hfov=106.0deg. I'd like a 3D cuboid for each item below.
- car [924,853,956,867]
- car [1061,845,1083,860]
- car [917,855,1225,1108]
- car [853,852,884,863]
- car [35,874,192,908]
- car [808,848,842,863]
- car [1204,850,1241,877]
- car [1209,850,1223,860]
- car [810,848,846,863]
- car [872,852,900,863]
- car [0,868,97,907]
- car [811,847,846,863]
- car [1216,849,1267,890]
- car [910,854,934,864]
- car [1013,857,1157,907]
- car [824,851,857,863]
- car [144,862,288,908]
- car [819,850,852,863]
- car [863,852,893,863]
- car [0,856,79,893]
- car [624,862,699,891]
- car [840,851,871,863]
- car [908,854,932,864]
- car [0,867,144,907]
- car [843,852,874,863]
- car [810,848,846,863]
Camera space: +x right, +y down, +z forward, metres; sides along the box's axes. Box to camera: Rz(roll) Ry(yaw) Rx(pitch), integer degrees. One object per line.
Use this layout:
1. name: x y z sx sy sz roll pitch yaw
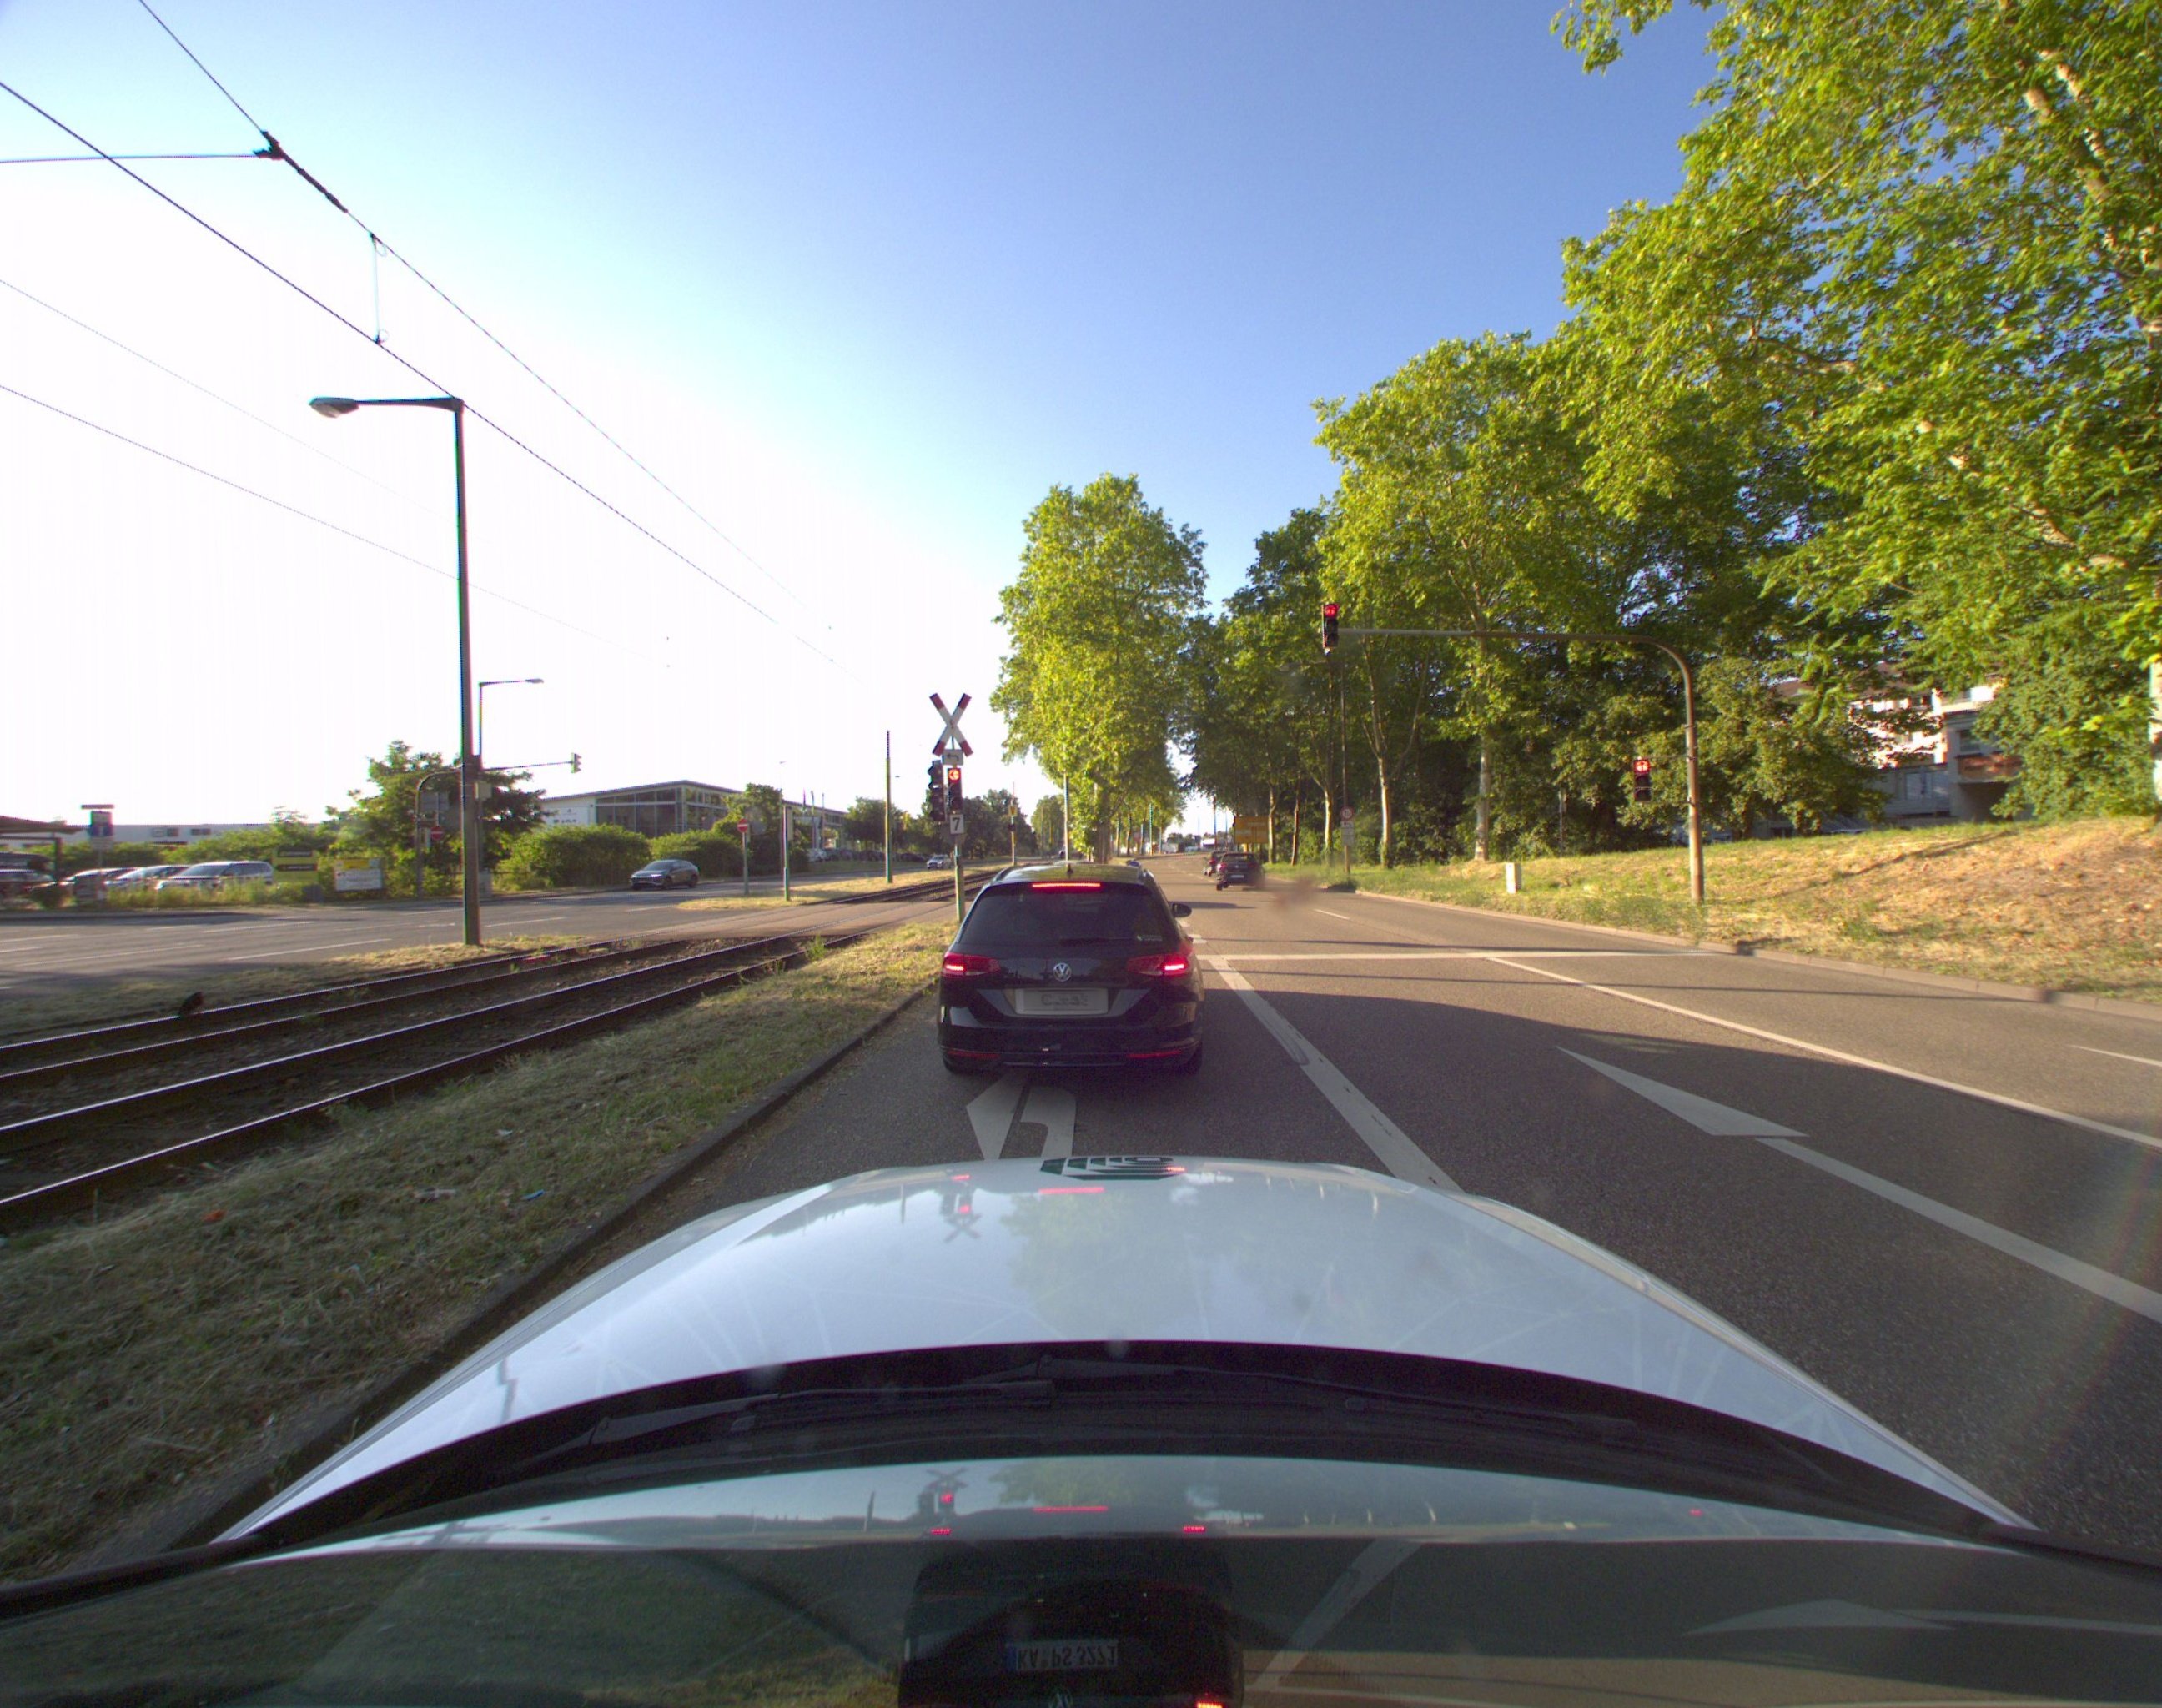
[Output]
1. car: -15.480 0.662 89.480 1.848 1.481 4.108 0 0 15
2. car: -1.467 -0.274 134.501 2.079 2.461 5.877 0 0 16
3. car: -0.015 0.747 6.544 1.788 1.464 3.584 0 0 1
4. car: -31.000 0.531 118.847 3.980 1.556 1.741 -1 0 -5
5. car: -42.467 1.572 35.911 1.855 1.267 4.174 0 0 2
6. car: -31.641 0.141 100.540 3.999 1.816 1.732 -1 0 -19
7. car: 9.077 0.607 52.527 1.864 1.635 4.373 -1 0 3
8. car: 33.322 0.190 200.878 2.077 2.321 5.882 0 0 21
9. car: -29.946 0.174 96.405 3.999 1.704 1.732 -1 0 -19
10. car: -30.114 0.600 125.970 3.978 1.621 1.742 -1 0 -3
11. car: -47.156 1.463 36.067 1.970 1.583 4.174 0 0 2
12. car: -30.598 0.139 98.760 3.999 1.816 1.732 -1 0 -19
13. car: 6.658 0.589 33.509 1.694 1.561 4.184 -1 0 16
14. car: -29.251 0.923 150.030 3.978 1.621 1.742 -1 0 -3
15. car: 0.144 0.770 23.897 3.997 1.294 1.598 0 0 -32
16. car: -31.361 0.355 106.231 3.999 1.556 1.732 -1 0 -19
17. car: -38.519 1.331 36.433 1.855 1.821 4.174 0 0 2
18. car: -31.146 0.311 103.440 3.999 1.556 1.732 -1 0 -19
19. car: -30.603 0.557 122.768 3.978 1.621 1.742 -1 0 -3
20. car: -60.417 1.165 45.927 1.855 2.014 4.773 0 0 2
21. car: -23.643 1.251 46.070 1.854 1.481 4.176 0 0 3
22. car: -31.224 0.448 112.629 3.999 1.556 1.732 -1 0 -19
23. car: -29.099 0.878 146.862 3.978 1.621 1.742 -1 0 -3
24. car: -44.706 1.414 35.914 1.855 1.583 4.174 0 0 2
25. car: -31.432 0.486 115.335 3.983 1.556 1.739 -1 0 -7
26. car: -29.257 0.156 94.136 3.999 1.704 1.732 -1 0 -19
